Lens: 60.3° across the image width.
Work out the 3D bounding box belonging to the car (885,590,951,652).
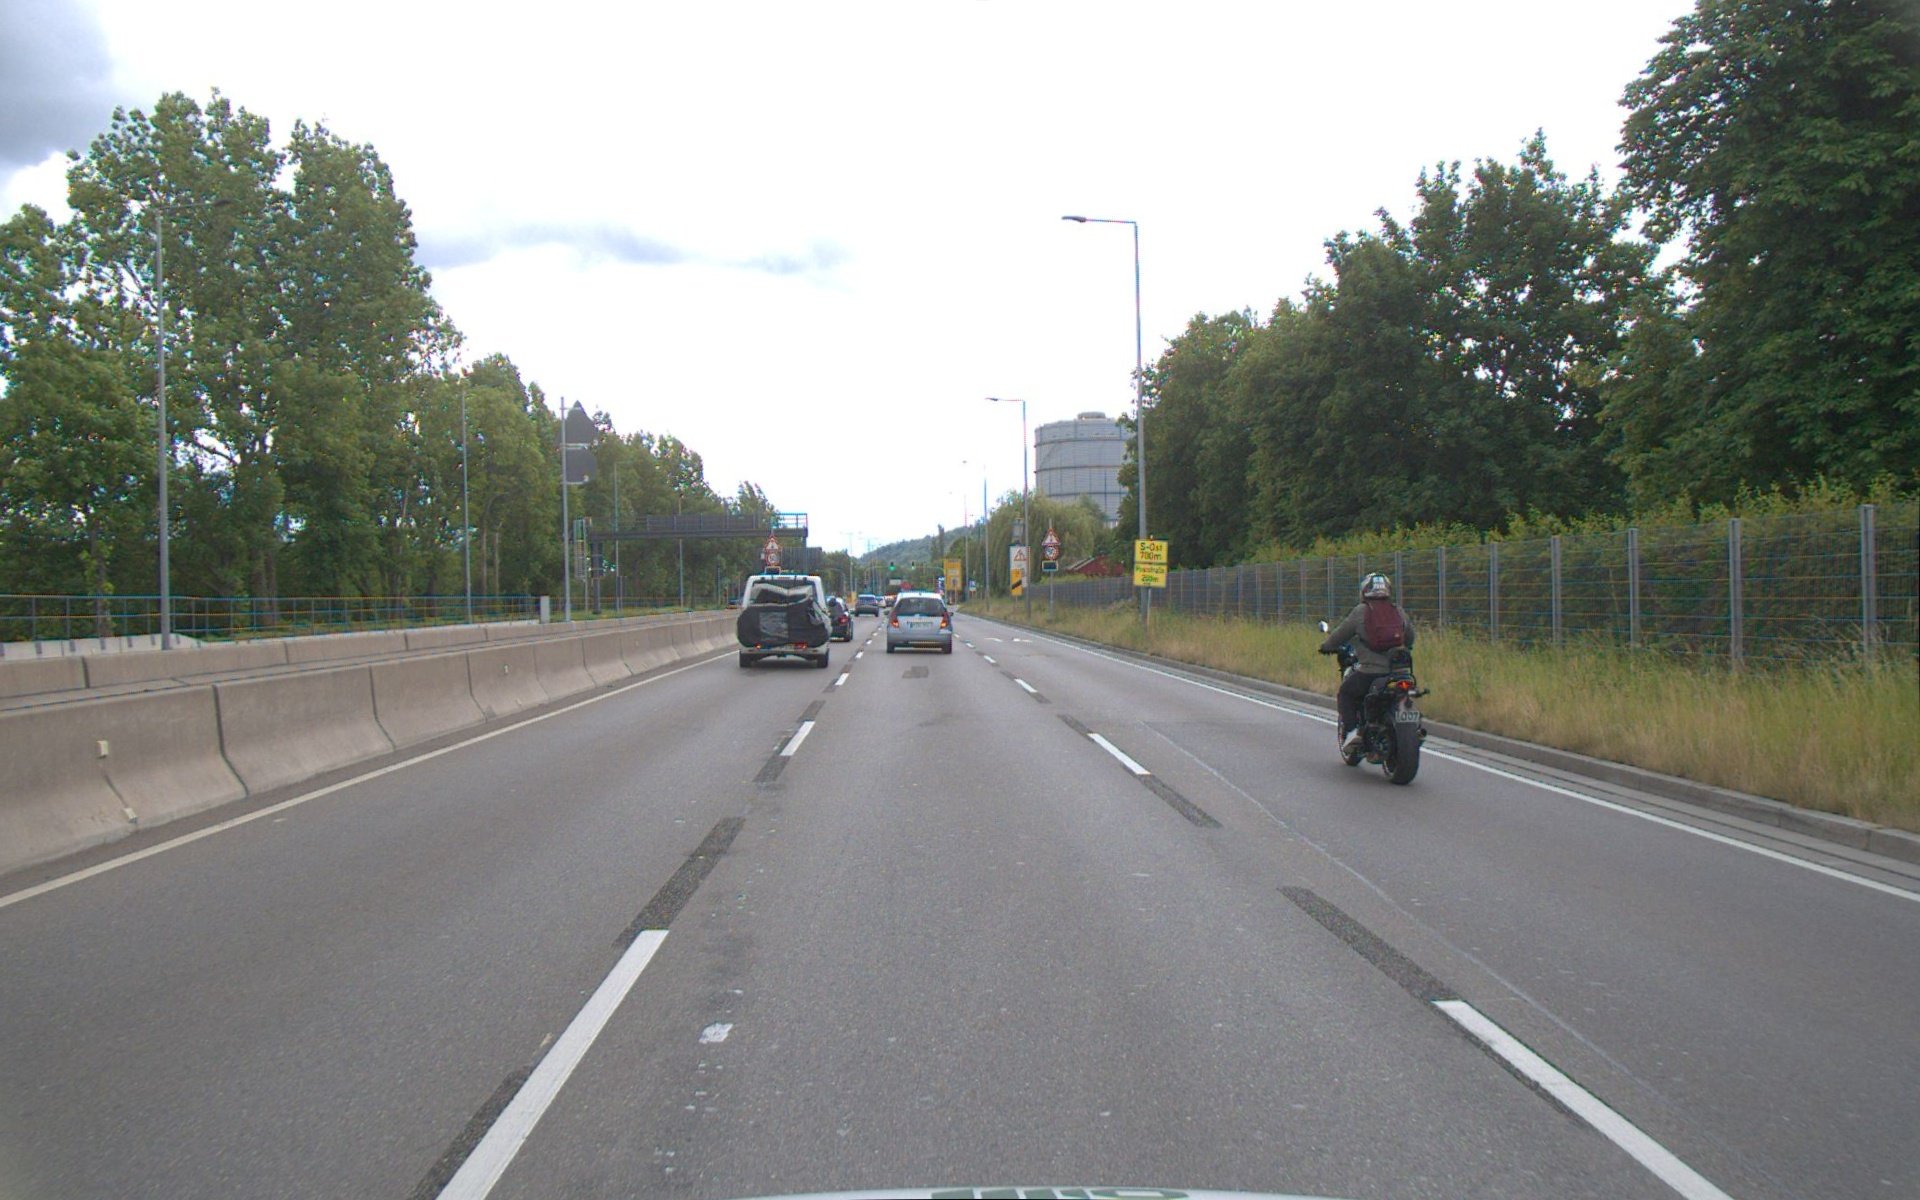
[{"bbox_3d":[-1.168,0.531,44.603,1.676,1.557,3.998,1,0,-2],"label":"car"}]

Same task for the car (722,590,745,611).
[{"bbox_3d":[-23.263,0.073,170.037,1.954,2.049,3.998,1,0,-3],"label":"car"}]

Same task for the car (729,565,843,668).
[{"bbox_3d":[-3.580,0.325,34.721,2.171,1.959,4.997,1,0,-4],"label":"car"}]

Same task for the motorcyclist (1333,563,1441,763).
[{"bbox_3d":[3.606,0.517,14.030,0.671,1.638,0.845,1,0,0],"label":"motorcyclist"}]

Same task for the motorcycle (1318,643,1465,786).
[{"bbox_3d":[3.612,0.927,14.015,0.692,1.058,2.027,1,0,0],"label":"motorcycle"}]

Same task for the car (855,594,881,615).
[{"bbox_3d":[-7.037,0.346,126.599,1.954,1.579,3.998,1,0,-3],"label":"car"}]

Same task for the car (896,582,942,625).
[{"bbox_3d":[-1.734,0.136,69.900,1.869,1.713,3.999,1,0,-2],"label":"car"}]

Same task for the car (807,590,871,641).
[{"bbox_3d":[-3.961,0.484,54.766,1.954,1.579,3.998,1,0,-3],"label":"car"}]
